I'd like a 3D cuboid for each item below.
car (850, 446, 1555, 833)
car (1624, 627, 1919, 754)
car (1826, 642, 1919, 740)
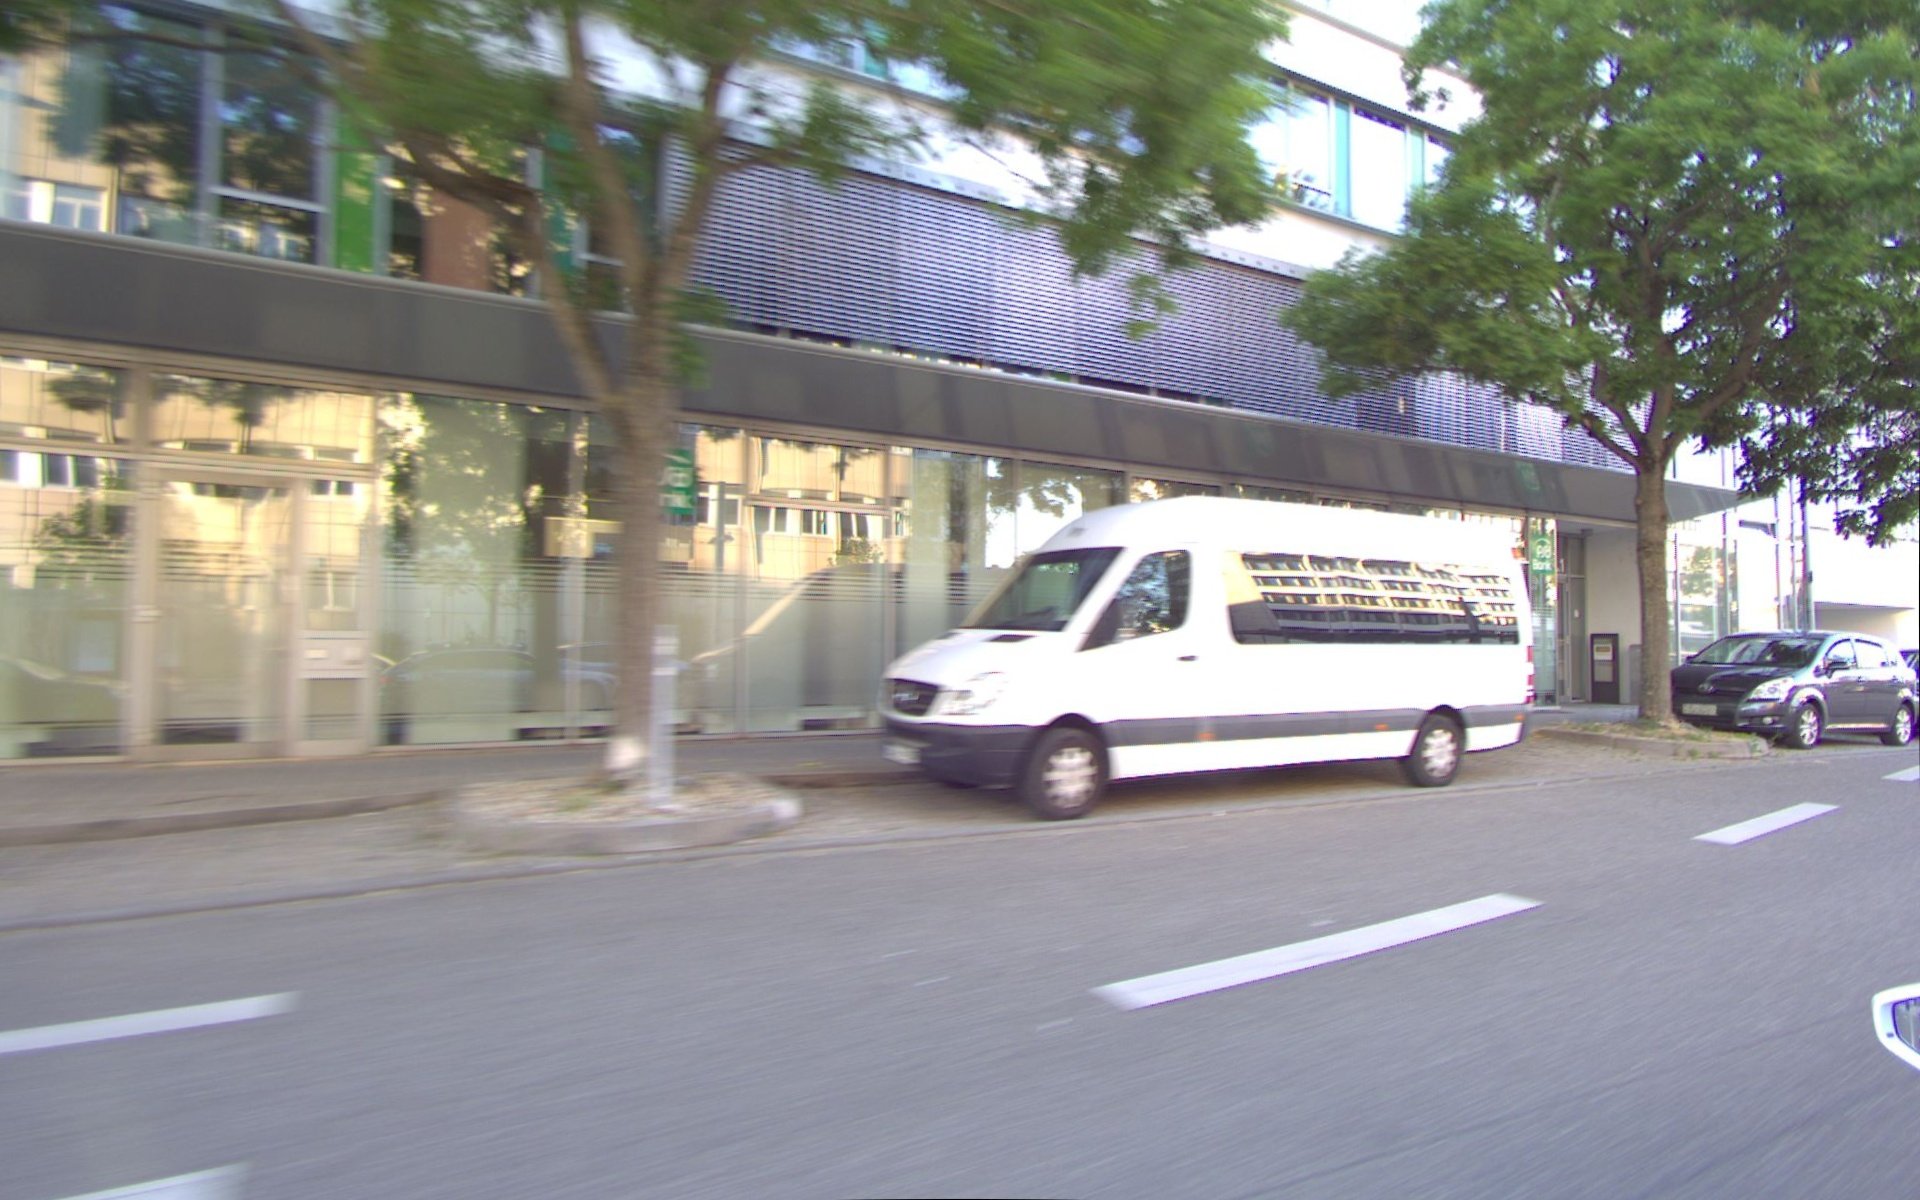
[{"bbox_3d":[2.548,0.375,9.549,6.863,2.699,2.092,1,-2,-28],"label":"car"},{"bbox_3d":[11.688,1.207,14.393,4.213,1.592,1.837,1,-2,-28],"label":"car"},{"bbox_3d":[16.311,1.450,16.689,4.350,1.471,1.706,2,-2,-32],"label":"car"}]
